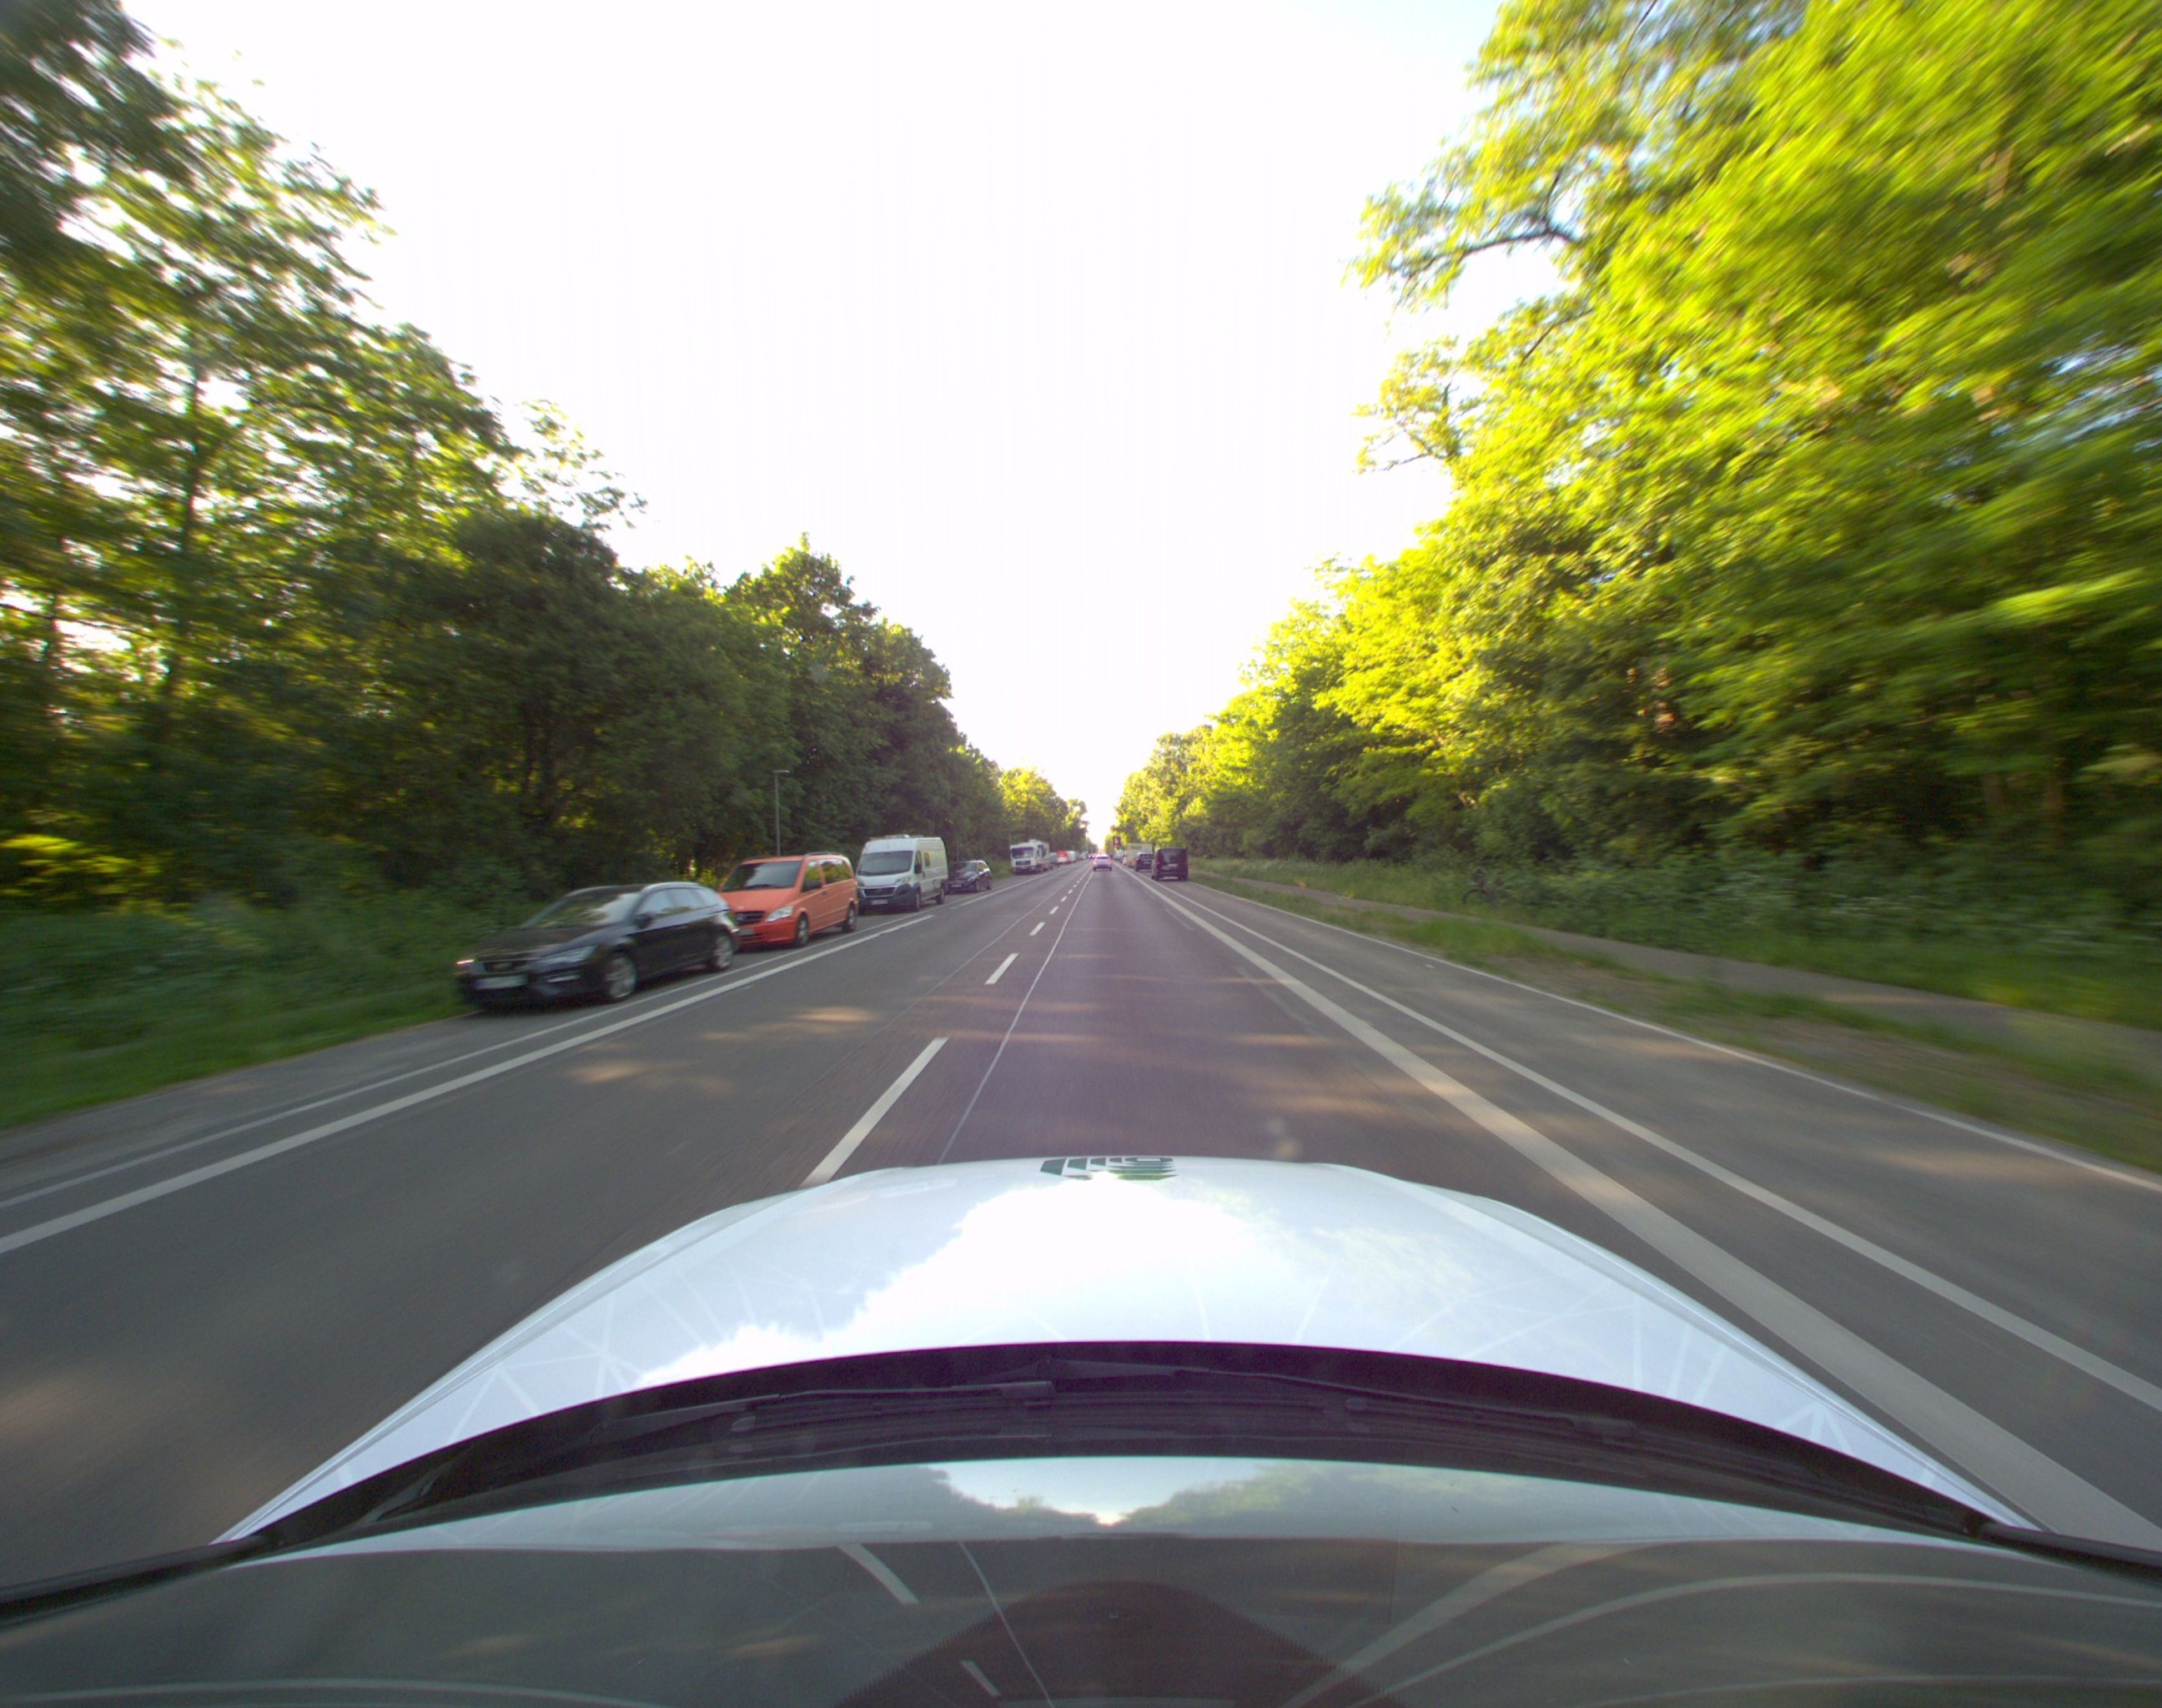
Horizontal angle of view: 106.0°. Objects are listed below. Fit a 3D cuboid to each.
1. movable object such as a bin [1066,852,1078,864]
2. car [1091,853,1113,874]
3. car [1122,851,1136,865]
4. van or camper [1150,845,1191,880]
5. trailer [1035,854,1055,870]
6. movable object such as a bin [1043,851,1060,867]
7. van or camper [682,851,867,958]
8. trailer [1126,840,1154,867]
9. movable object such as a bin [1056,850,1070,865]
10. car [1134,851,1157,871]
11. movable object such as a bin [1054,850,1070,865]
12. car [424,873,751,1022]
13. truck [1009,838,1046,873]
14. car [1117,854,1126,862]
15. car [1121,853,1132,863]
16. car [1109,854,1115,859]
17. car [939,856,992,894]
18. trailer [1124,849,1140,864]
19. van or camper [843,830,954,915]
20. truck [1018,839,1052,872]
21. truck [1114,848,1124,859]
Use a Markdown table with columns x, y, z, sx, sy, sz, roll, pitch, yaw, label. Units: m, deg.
| x | y | z | sx | sy | sz | roll | pitch | yaw | label |
| --- | --- | --- | --- | --- | --- | --- | --- | --- | --- |
| -1.998 | 0.818 | 173.331 | 2.313 | 2.501 | 4.001 | -2 | 0 | 1 | movable object such as a bin |
| 2.050 | 0.893 | 78.455 | 2.021 | 1.840 | 4.031 | -2 | 0 | 2 | car |
| 6.450 | 0.518 | 108.918 | 1.726 | 1.684 | 4.001 | -2 | 0 | 1 | car |
| 5.223 | 0.474 | 48.110 | 1.986 | 1.932 | 5.201 | -1 | 0 | 2 | van or camper |
| -4.349 | 0.934 | 98.630 | 1.986 | 1.750 | 4.329 | -2 | 0 | 1 | trailer |
| -4.047 | 0.671 | 112.127 | 1.946 | 2.013 | 4.001 | -2 | 0 | 1 | movable object such as a bin |
| -6.376 | 0.939 | 17.649 | 1.916 | 1.867 | 4.865 | -4 | 0 | 2 | van or camper |
| 6.673 | -0.042 | 92.908 | 2.747 | 2.870 | 6.590 | -2 | 0 | 1 | trailer |
| -3.283 | 0.646 | 150.783 | 2.313 | 2.501 | 4.001 | -2 | 0 | 1 | movable object such as a bin |
| 5.584 | 0.579 | 70.765 | 1.834 | 1.662 | 4.002 | -1 | 0 | 2 | car |
| -3.164 | 0.592 | 136.265 | 2.313 | 2.501 | 4.001 | -2 | 0 | 1 | movable object such as a bin |
| -6.446 | 1.105 | 11.348 | 1.725 | 1.478 | 4.326 | -4 | 0 | 2 | car |
| -4.981 | 0.151 | 77.333 | 2.697 | 3.093 | 7.992 | -2 | 0 | 2 | truck |
| 7.912 | 0.848 | 159.967 | 1.650 | 1.478 | 3.755 | -2 | 0 | 1 | car |
| 7.219 | 0.657 | 129.167 | 1.650 | 1.478 | 3.755 | -2 | 0 | 1 | car |
| 9.027 | 0.671 | 236.945 | 1.650 | 1.478 | 3.755 | -2 | 0 | 1 | car |
| -5.684 | 1.007 | 40.495 | 1.774 | 1.684 | 4.380 | -3 | 0 | 2 | car |
| 7.211 | 0.315 | 115.592 | 1.986 | 1.969 | 4.001 | -2 | 0 | 1 | trailer |
| -6.190 | 0.566 | 28.554 | 2.113 | 2.572 | 6.545 | -3 | 0 | 2 | van or camper |
| -4.868 | 0.137 | 88.334 | 2.697 | 3.347 | 10.927 | -2 | 0 | 2 | truck |
| 8.589 | -0.090 | 183.809 | 2.089 | 2.452 | 5.682 | -2 | 0 | 1 | truck |
